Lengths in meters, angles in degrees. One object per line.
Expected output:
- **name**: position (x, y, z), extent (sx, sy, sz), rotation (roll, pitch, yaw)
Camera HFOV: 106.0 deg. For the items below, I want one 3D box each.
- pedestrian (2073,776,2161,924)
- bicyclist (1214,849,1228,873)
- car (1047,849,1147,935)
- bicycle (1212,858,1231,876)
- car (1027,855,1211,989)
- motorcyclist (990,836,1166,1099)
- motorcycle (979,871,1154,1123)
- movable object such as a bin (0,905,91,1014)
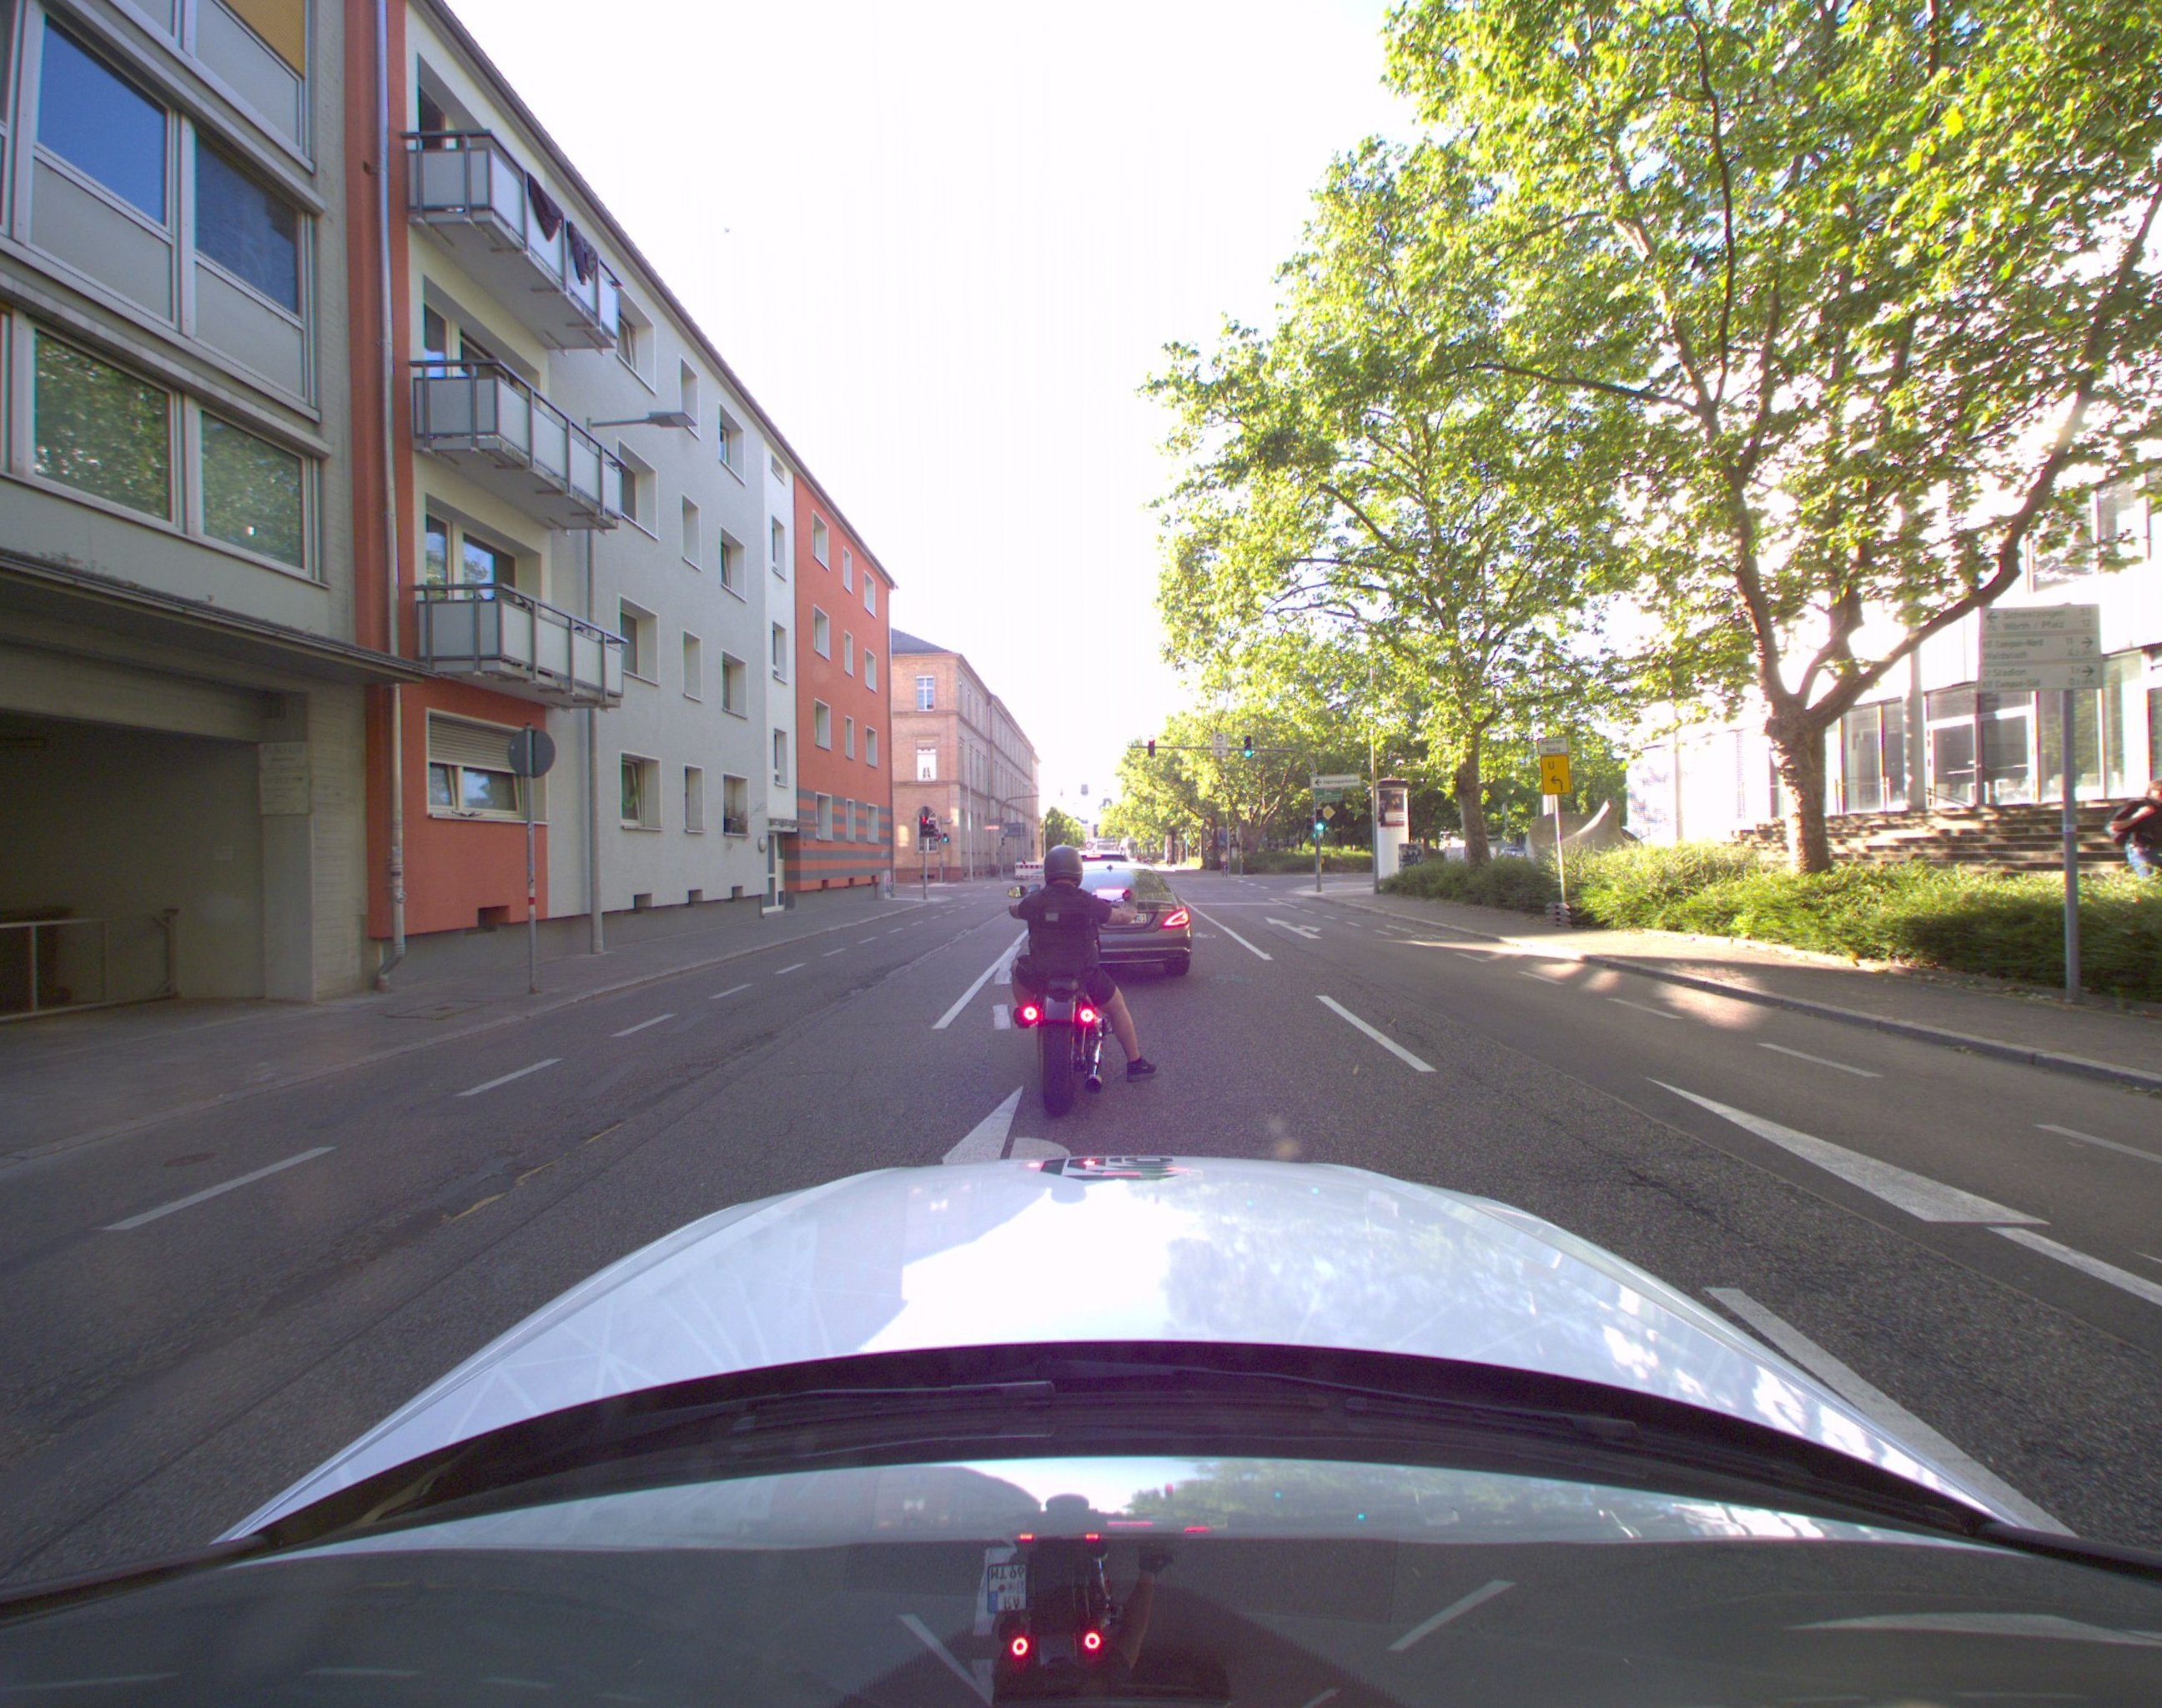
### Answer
- **pedestrian**: position (13.418, -0.058, 10.248), extent (0.781, 1.781, 0.862), rotation (-1, 0, 0)
- **bicyclist**: position (9.339, 0.450, 54.241), extent (0.715, 1.582, 0.934), rotation (0, -1, -4)
- **car**: position (0.267, 0.697, 16.892), extent (1.808, 1.536, 3.847), rotation (-1, 0, -1)
- **bicycle**: position (9.337, 0.868, 54.164), extent (0.714, 1.172, 2.173), rotation (0, -1, -3)
- **car**: position (0.297, 0.760, 11.242), extent (1.900, 1.441, 4.279), rotation (-1, 0, -6)
- **motorcyclist**: position (-0.007, 0.690, 5.387), extent (1.057, 1.582, 0.908), rotation (0, -1, 1)
- **motorcycle**: position (-0.042, 0.815, 5.657), extent (0.958, 1.357, 2.321), rotation (0, -1, 2)
- **movable object such as a bin**: position (-11.326, 1.099, 8.644), extent (0.736, 1.074, 0.716), rotation (0, -1, 2)
